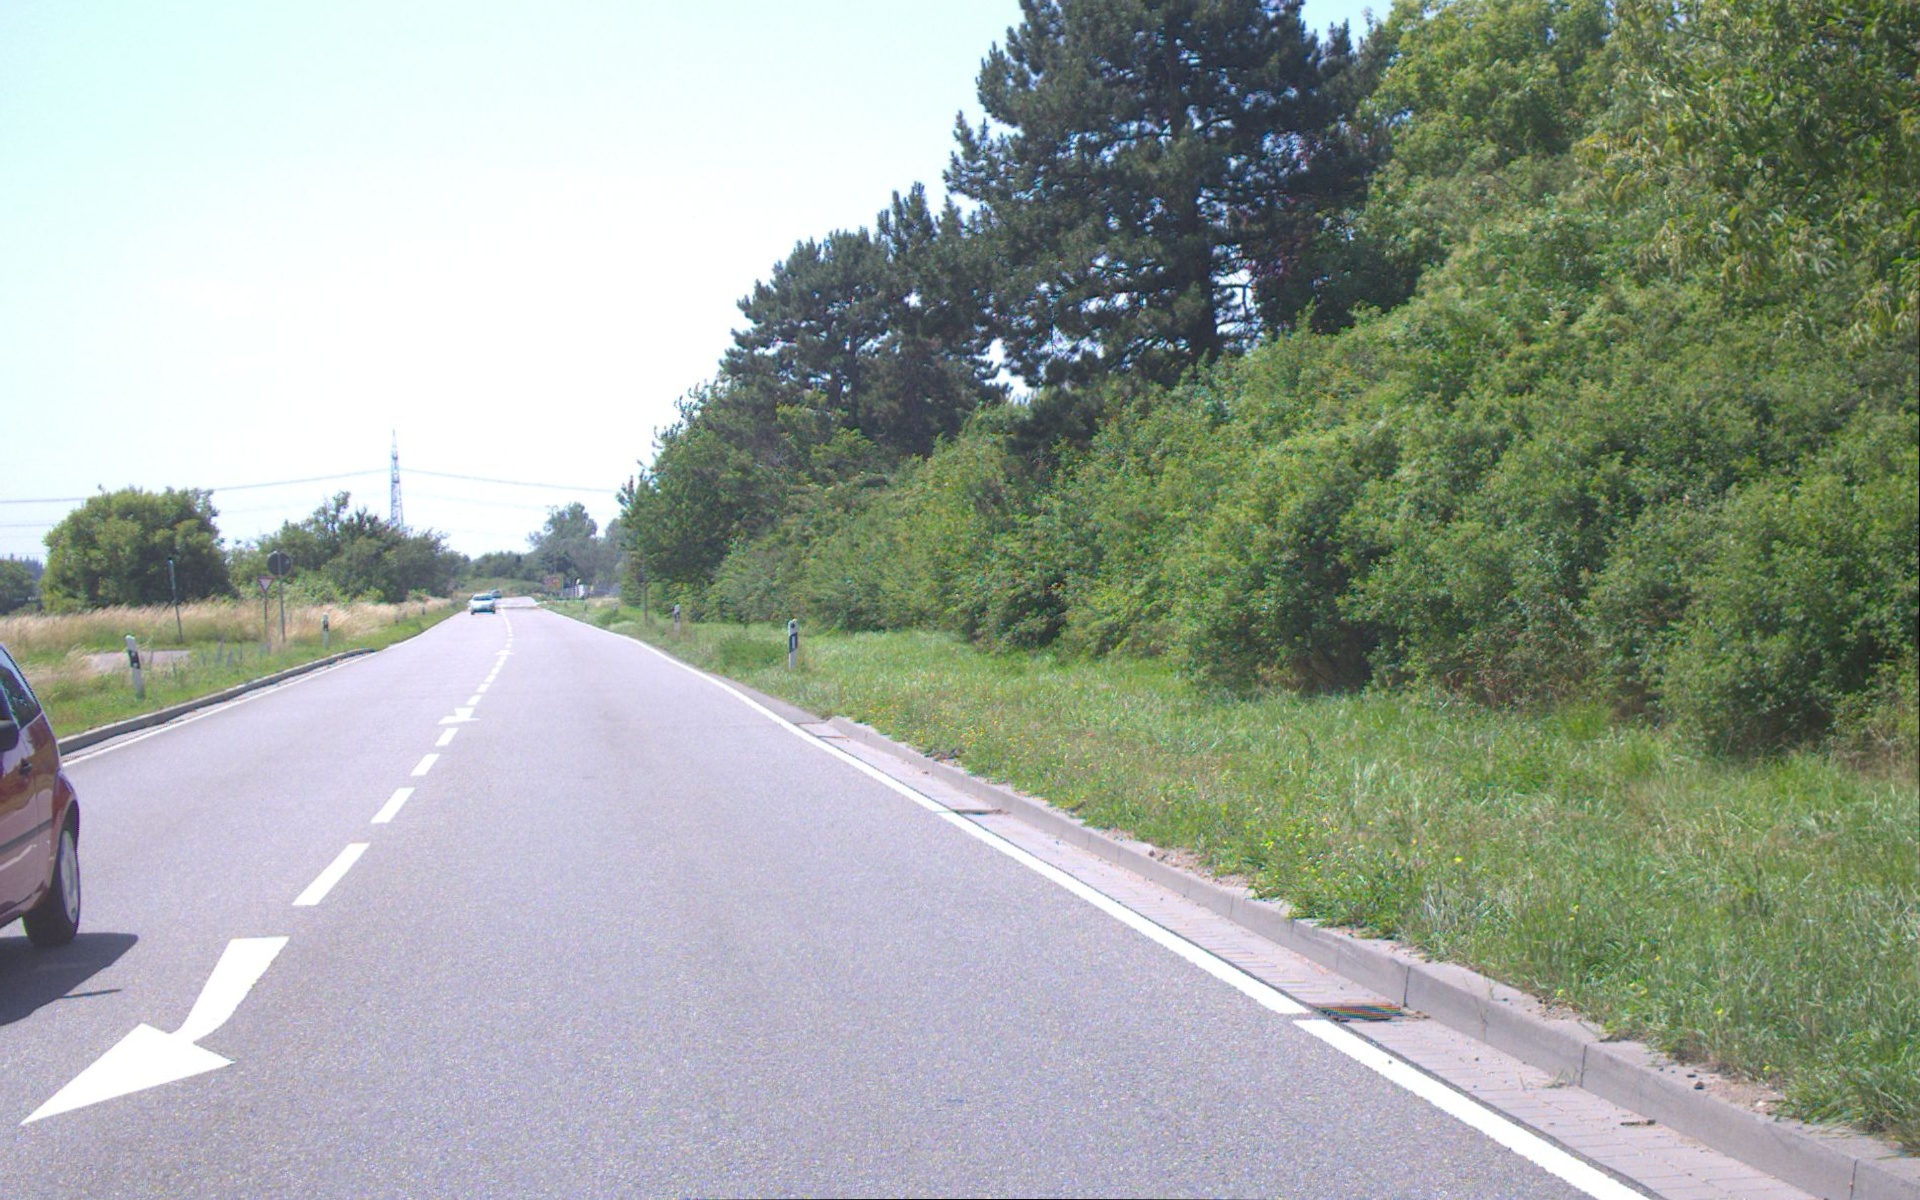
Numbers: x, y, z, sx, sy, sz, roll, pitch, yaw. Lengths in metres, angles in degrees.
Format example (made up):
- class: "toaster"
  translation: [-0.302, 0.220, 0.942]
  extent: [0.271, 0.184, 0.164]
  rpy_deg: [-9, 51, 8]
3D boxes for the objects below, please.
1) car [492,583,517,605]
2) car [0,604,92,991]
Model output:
- class: "car"
  translation: [-33.240, -0.441, 250.976]
  extent: [1.678, 1.416, 4.423]
  rpy_deg: [-4, 1, -8]
- class: "car"
  translation: [-4.497, 0.792, 13.233]
  extent: [1.655, 1.428, 3.737]
  rpy_deg: [-4, 1, -6]
